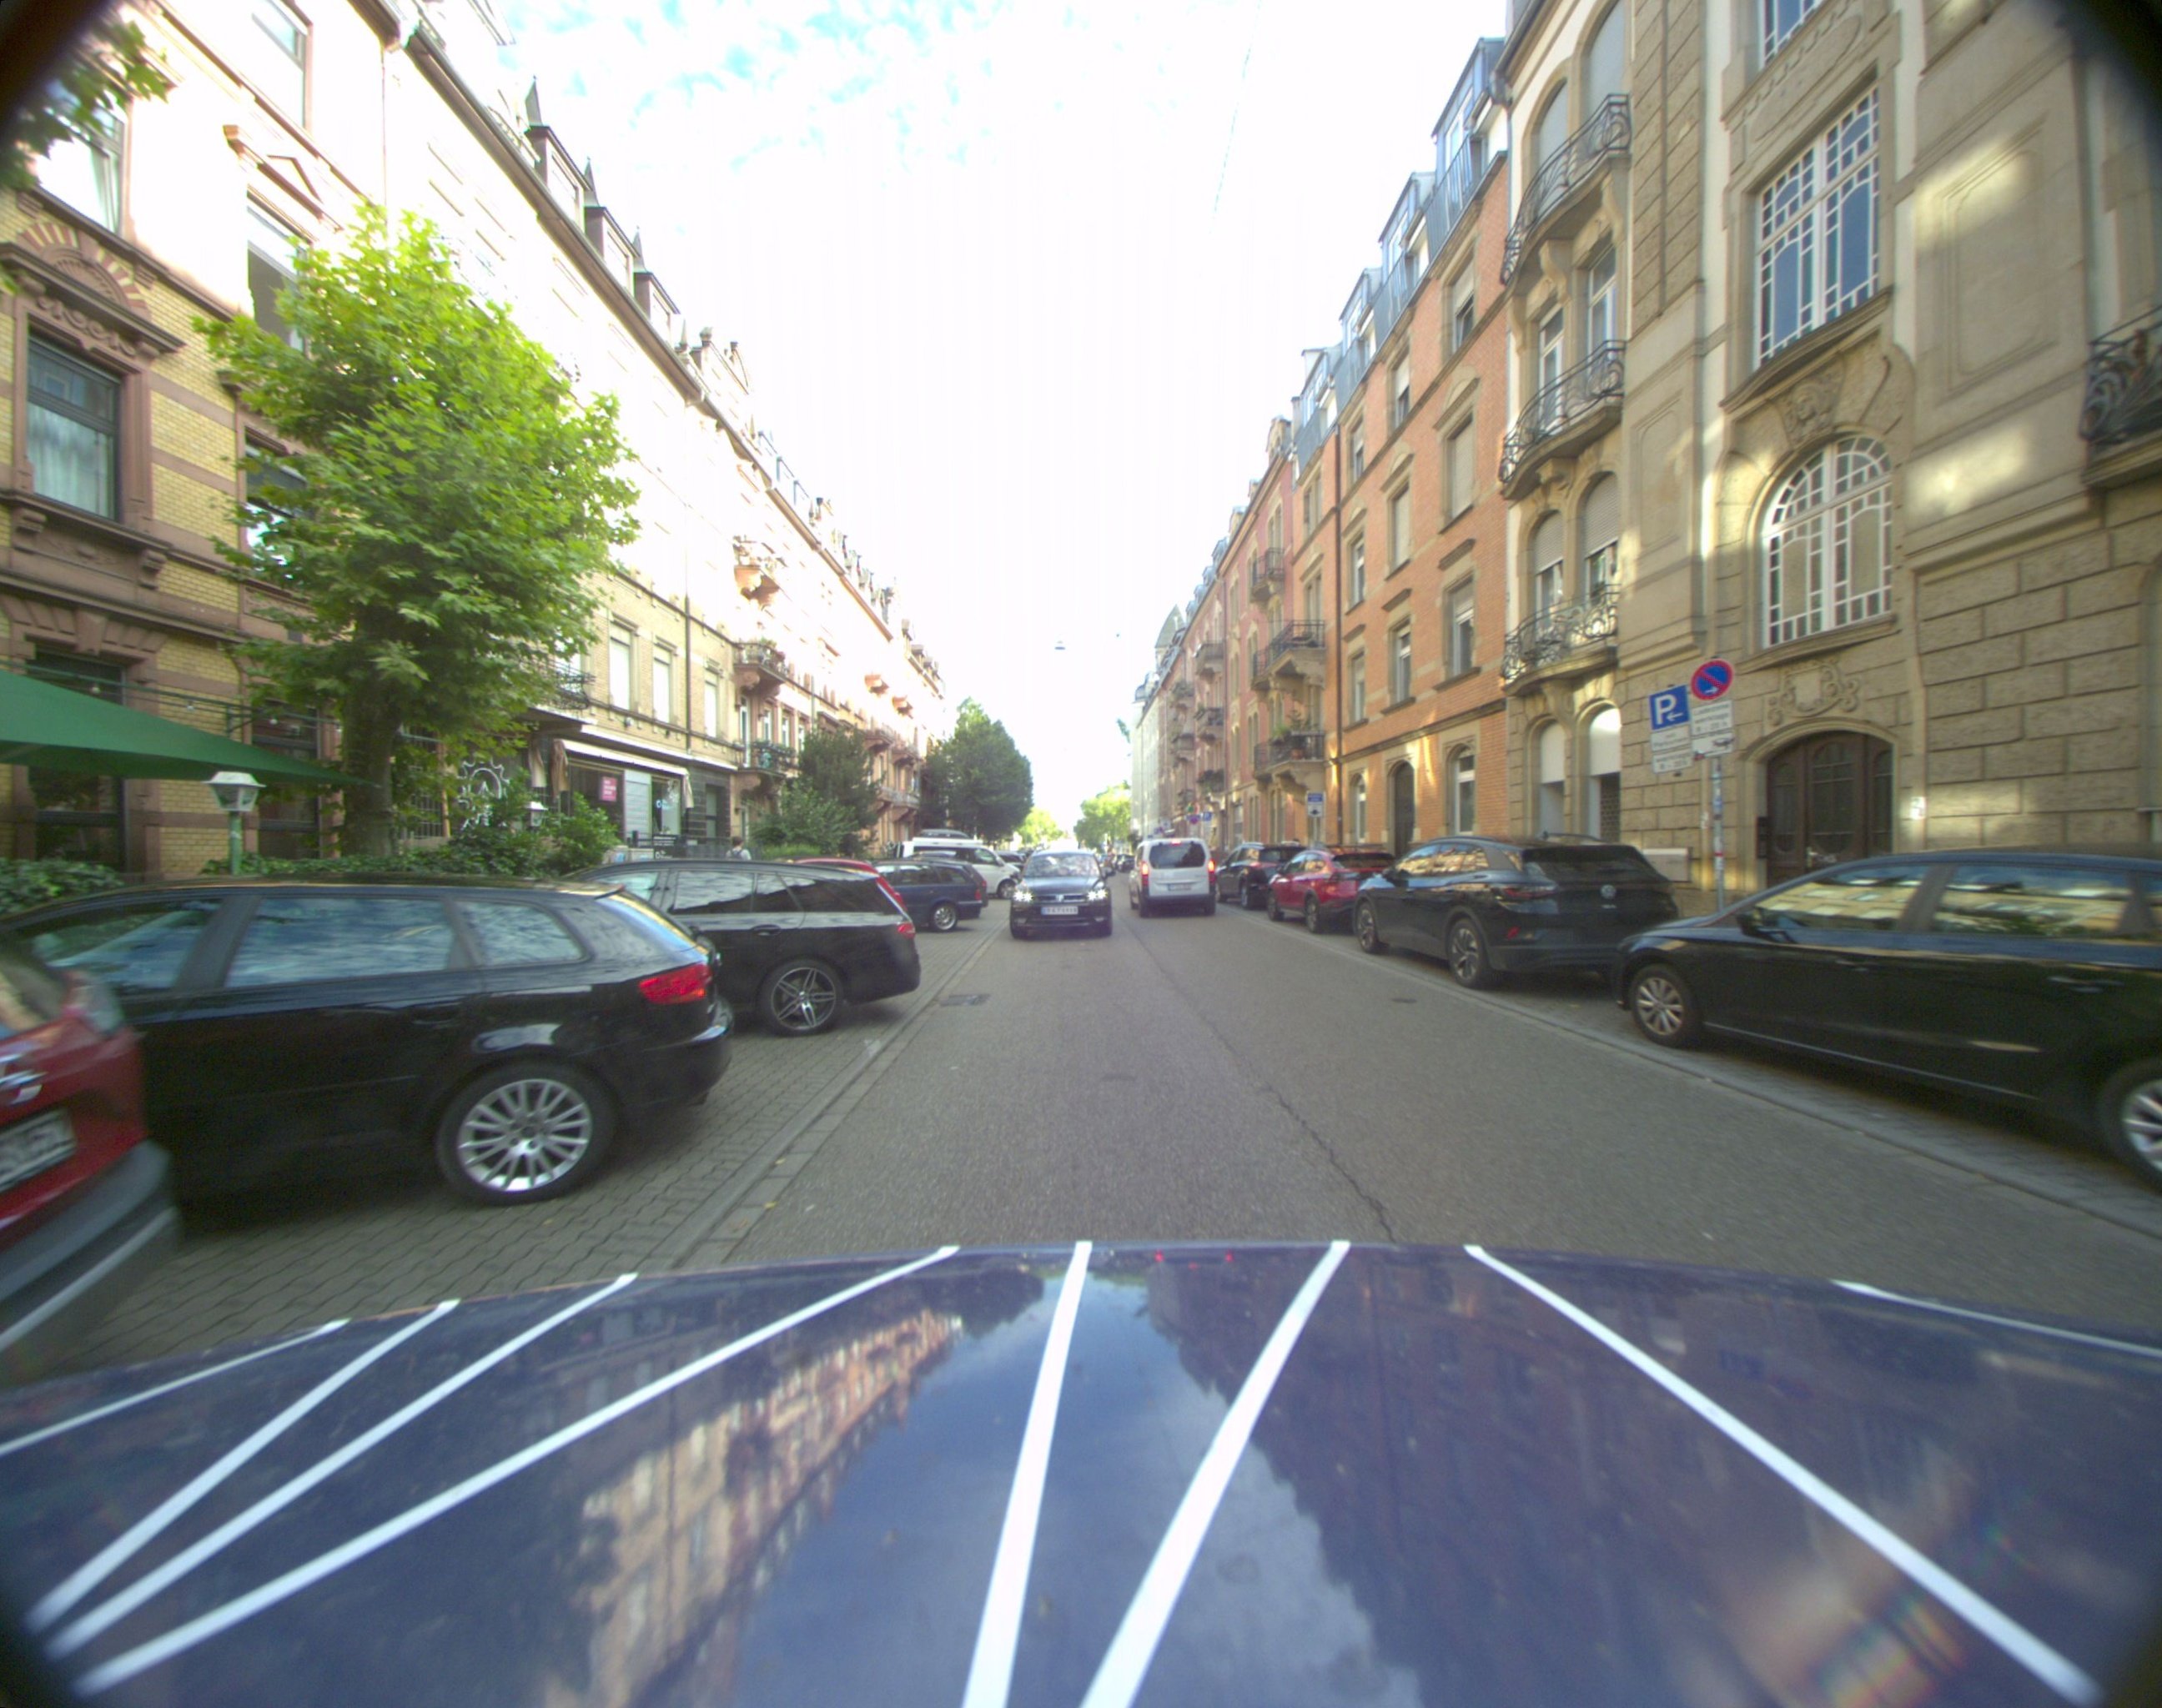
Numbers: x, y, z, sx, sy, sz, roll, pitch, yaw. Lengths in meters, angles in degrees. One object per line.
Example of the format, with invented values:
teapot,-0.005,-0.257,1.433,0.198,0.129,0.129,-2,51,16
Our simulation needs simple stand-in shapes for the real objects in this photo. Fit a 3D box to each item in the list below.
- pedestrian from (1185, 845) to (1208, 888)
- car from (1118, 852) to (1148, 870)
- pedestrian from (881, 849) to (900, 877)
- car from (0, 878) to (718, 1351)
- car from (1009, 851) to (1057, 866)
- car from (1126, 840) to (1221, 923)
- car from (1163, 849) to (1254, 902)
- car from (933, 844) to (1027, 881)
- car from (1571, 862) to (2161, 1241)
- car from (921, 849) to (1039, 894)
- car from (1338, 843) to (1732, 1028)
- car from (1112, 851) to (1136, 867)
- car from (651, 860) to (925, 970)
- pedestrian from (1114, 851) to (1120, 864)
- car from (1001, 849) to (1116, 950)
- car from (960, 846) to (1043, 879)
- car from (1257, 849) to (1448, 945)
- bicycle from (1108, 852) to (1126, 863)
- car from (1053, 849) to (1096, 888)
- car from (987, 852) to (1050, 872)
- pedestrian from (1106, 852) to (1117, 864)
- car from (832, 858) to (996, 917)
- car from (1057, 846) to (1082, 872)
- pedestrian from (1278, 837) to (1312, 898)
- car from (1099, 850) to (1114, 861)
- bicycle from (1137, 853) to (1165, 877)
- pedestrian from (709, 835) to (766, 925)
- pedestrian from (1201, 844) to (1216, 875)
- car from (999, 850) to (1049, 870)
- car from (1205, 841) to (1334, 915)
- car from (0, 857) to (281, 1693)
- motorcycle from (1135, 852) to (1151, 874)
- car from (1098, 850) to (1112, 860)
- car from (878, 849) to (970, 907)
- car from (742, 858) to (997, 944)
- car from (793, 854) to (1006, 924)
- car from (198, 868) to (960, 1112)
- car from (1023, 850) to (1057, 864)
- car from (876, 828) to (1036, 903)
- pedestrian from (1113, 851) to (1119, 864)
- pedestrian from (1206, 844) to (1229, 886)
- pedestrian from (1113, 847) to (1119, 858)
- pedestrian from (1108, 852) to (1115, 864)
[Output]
pedestrian,4.683,0.508,30.913,0.566,1.699,0.666,-3,1,-36
car,4.102,0.537,60.370,1.817,1.343,5.114,-1,0,-2
pedestrian,-10.556,0.494,42.114,0.930,1.488,0.811,0,0,-8
car,-4.046,0.899,3.302,4.421,1.448,1.939,0,0,-25
car,-5.227,0.508,82.779,4.817,1.535,1.866,1,1,-33
car,2.224,0.612,19.357,1.922,1.817,4.438,-2,0,1
car,4.208,0.637,25.992,1.830,1.569,5.261,-2,0,-4
car,-5.233,0.471,39.856,4.649,1.774,1.810,2,-2,-2
car,5.150,0.783,4.265,1.999,1.412,4.243,0,0,-1
car,-4.238,0.707,32.187,4.466,1.722,1.995,-1,0,-36
car,4.827,0.691,9.135,1.795,1.619,4.846,0,1,-1
car,3.935,0.455,70.230,1.674,1.407,4.010,-2,0,-4
car,-4.603,0.864,12.148,3.727,1.476,1.736,1,-1,-39
pedestrian,3.974,0.374,84.187,0.689,1.365,0.739,-2,1,3
car,-0.286,0.766,15.136,1.874,1.644,4.387,-2,0,3
car,-4.607,0.518,44.184,4.412,1.812,1.750,1,1,-32
car,4.950,0.688,14.609,1.999,1.536,4.425,-1,1,-2
bicycle,3.952,0.408,83.035,1.873,1.168,0.687,-2,1,1
car,-0.253,0.648,35.225,1.811,1.622,4.000,-3,0,0
car,-4.924,0.644,60.218,4.620,1.443,1.788,1,0,-33
pedestrian,3.482,0.424,87.337,1.089,1.365,0.895,-2,1,7
car,-4.458,0.852,20.666,4.003,1.451,1.746,1,0,-42
car,-0.880,0.362,59.451,1.811,1.914,4.000,-3,0,0
pedestrian,6.511,0.408,23.130,0.758,1.797,0.863,-2,1,3
car,3.609,0.202,106.672,1.828,1.477,4.169,-2,0,-1
bicycle,4.059,0.610,43.910,1.680,1.314,0.526,-2,1,-37
pedestrian,-7.243,0.534,16.056,0.841,1.867,0.723,0,1,3
pedestrian,6.972,0.306,41.574,0.665,1.686,0.763,-2,1,-1
car,-4.954,0.522,66.496,4.008,1.689,1.848,0,0,-36
car,4.853,0.578,20.343,1.878,1.671,4.892,-2,0,-4
car,-4.120,0.780,0.633,4.362,1.635,1.817,2,0,-27
motorcycle,4.062,0.564,49.570,0.708,1.376,2.025,-2,1,14
car,3.519,0.176,112.757,1.911,1.412,3.999,-2,0,-1
car,-4.829,0.753,23.360,2.473,1.656,1.344,3,-2,-27
car,-4.098,0.870,15.034,4.478,1.455,1.874,2,-1,-35
car,-4.175,0.812,17.936,4.479,1.468,1.884,3,-2,-40
car,-3.686,0.895,6.618,4.776,1.448,2.052,2,-1,-29
car,-5.311,0.418,99.128,4.006,1.663,1.922,-2,1,-32
car,-4.276,0.369,26.456,5.169,2.391,1.913,0,1,-34
pedestrian,3.946,0.393,85.538,0.668,1.328,0.740,-2,1,6
pedestrian,5.536,0.442,30.824,0.682,1.651,0.550,-2,1,-31
pedestrian,5.597,-0.235,122.600,0.845,1.699,0.879,-2,1,-1
pedestrian,3.416,0.440,84.734,0.739,1.341,0.644,-2,1,2
